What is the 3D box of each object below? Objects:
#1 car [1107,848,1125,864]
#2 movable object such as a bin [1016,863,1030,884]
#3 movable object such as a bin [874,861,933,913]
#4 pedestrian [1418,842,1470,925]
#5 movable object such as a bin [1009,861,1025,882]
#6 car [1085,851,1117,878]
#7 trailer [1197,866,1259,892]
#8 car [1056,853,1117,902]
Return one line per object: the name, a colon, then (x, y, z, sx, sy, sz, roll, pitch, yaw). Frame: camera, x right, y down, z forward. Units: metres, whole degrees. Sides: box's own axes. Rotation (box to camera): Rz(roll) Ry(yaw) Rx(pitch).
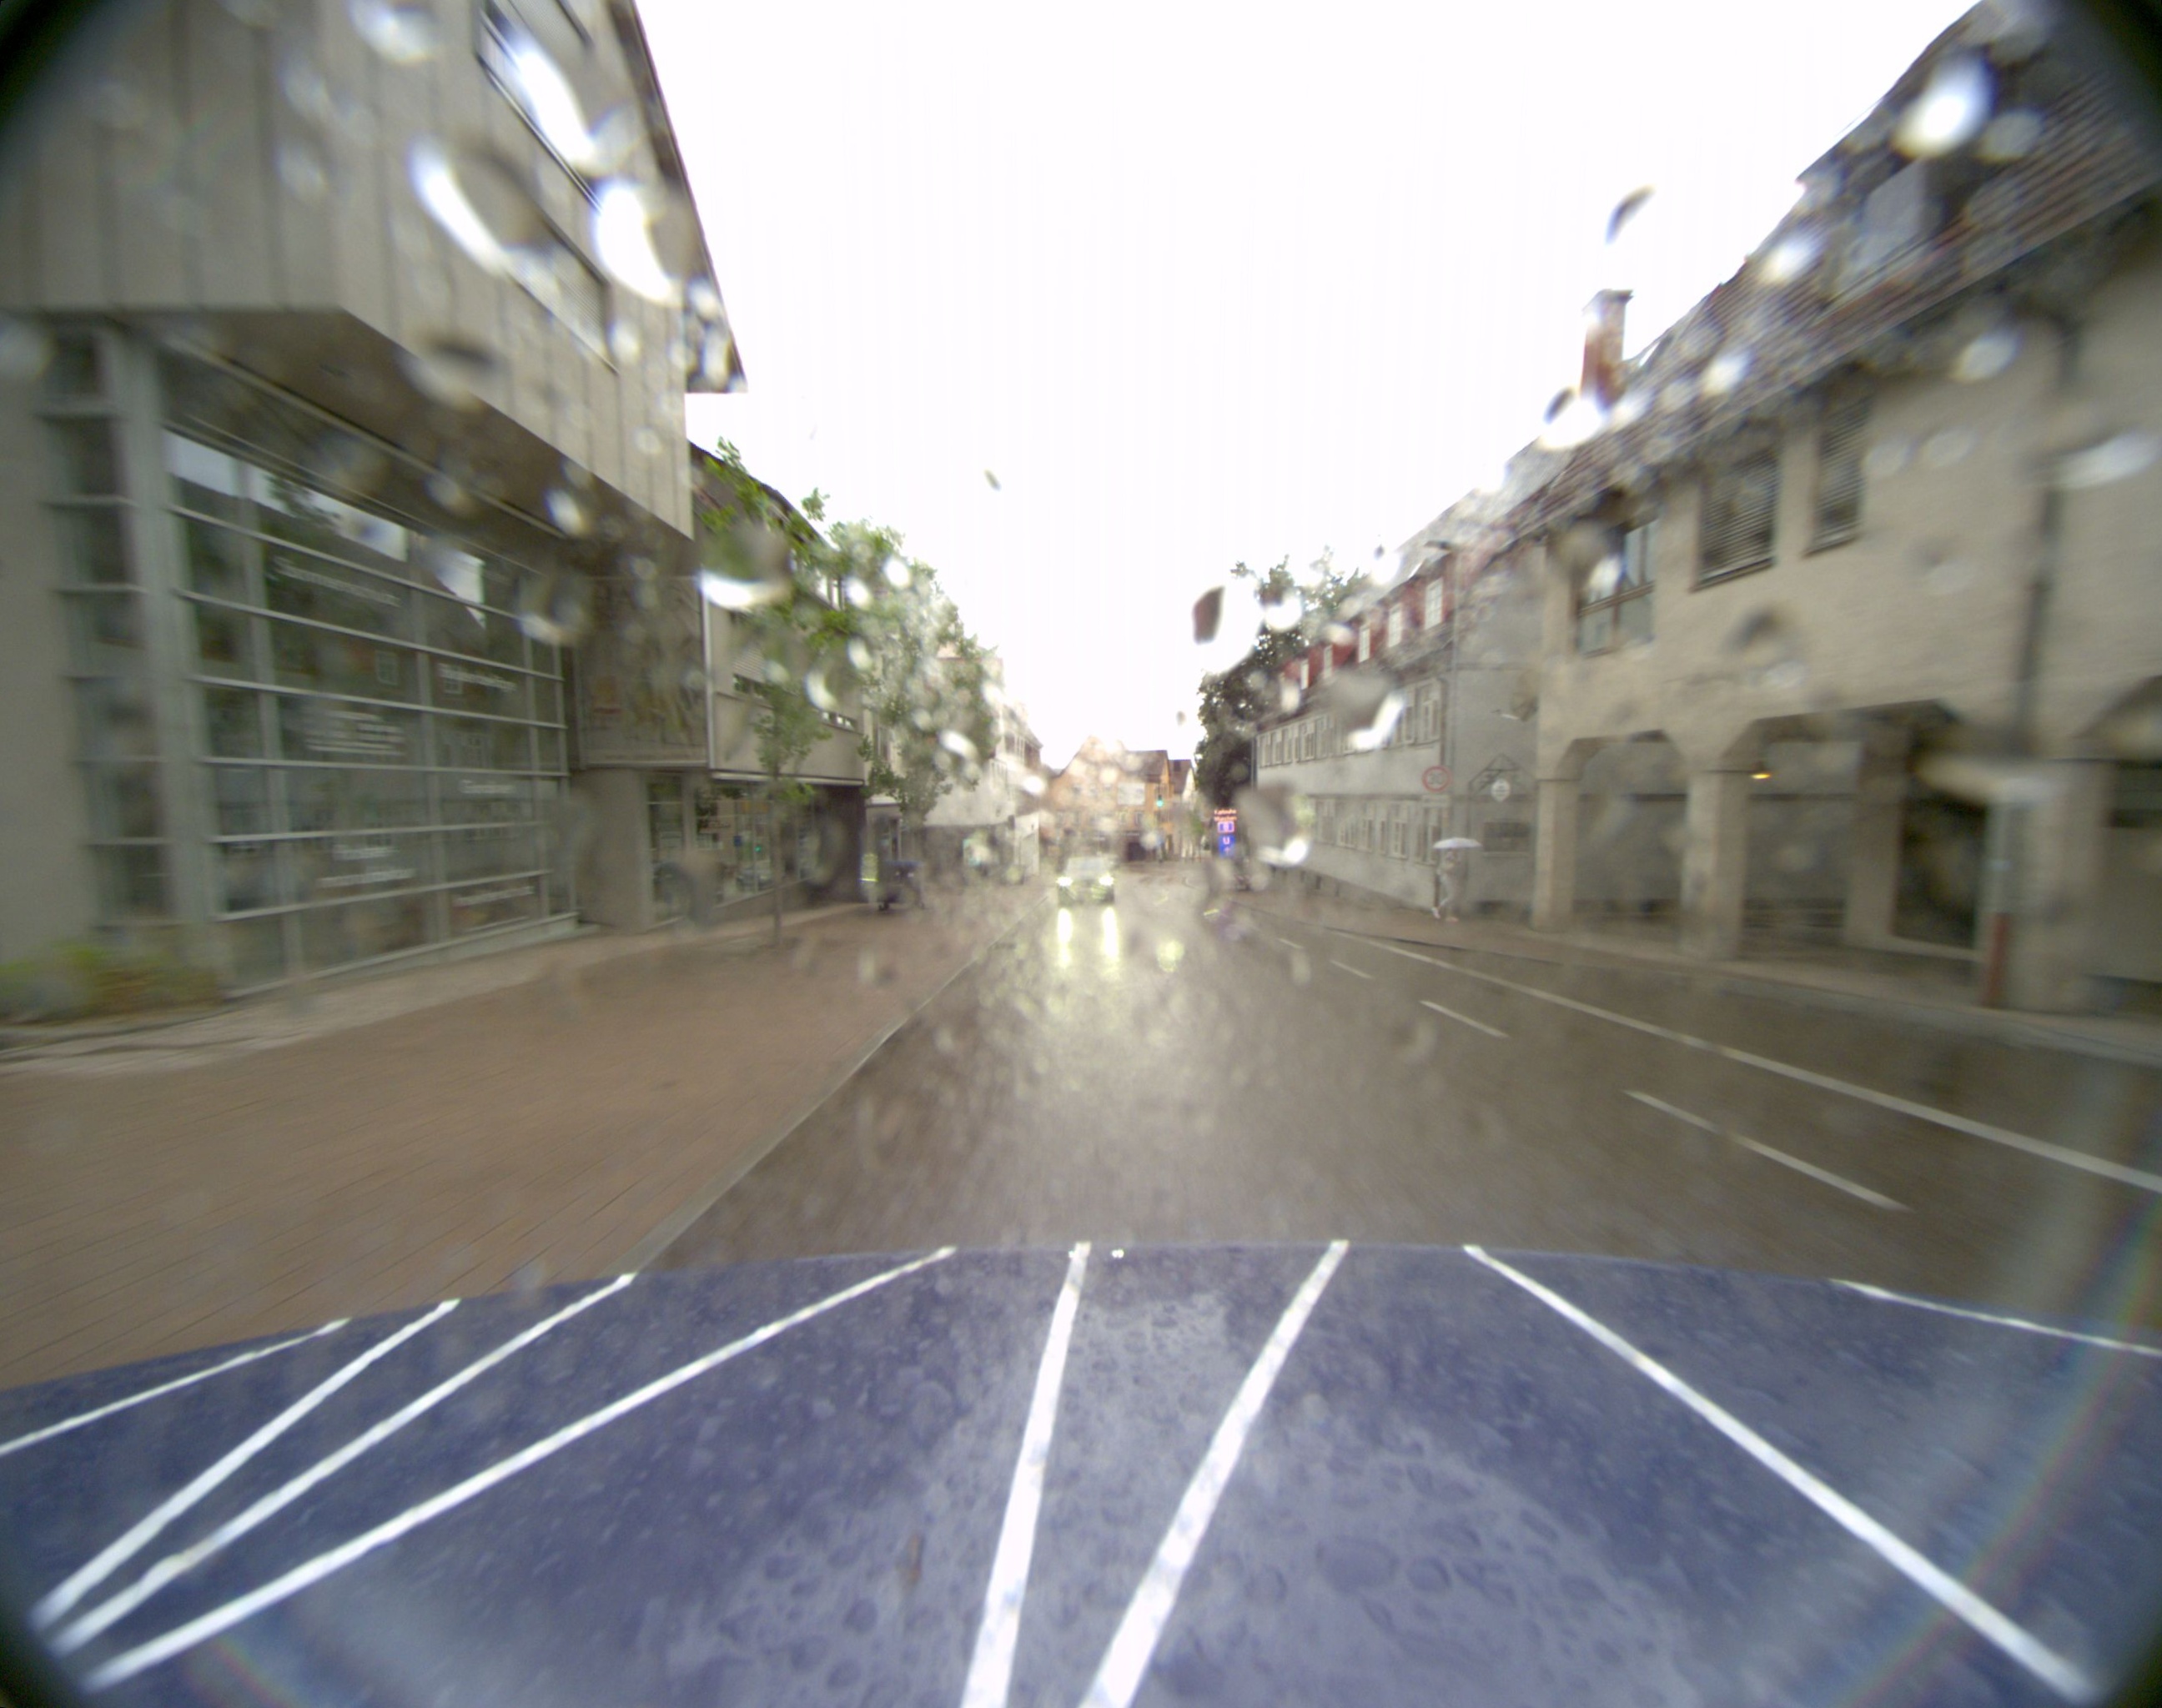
car: (3.368, 0.208, 74.259, 1.612, 1.463, 3.586, 1, 0, 1)
movable object such as a bin: (-2.921, 0.975, 38.214, 0.596, 1.022, 0.476, 2, 1, 2)
movable object such as a bin: (-4.692, 0.862, 20.182, 1.237, 1.327, 1.172, 1, 0, 2)
pedestrian: (7.828, 0.618, 16.422, 0.690, 1.730, 0.734, -2, 1, -5)
movable object such as a bin: (-3.115, 0.863, 37.016, 0.571, 1.022, 0.467, 1, 1, -40)
car: (1.271, 0.619, 48.213, 1.967, 1.598, 4.383, 0, 0, 2)
trailer: (6.372, 1.060, 33.419, 1.998, 0.900, 4.477, -2, 0, 3)
car: (0.226, 0.763, 26.901, 1.967, 1.549, 4.622, 0, 0, 1)
